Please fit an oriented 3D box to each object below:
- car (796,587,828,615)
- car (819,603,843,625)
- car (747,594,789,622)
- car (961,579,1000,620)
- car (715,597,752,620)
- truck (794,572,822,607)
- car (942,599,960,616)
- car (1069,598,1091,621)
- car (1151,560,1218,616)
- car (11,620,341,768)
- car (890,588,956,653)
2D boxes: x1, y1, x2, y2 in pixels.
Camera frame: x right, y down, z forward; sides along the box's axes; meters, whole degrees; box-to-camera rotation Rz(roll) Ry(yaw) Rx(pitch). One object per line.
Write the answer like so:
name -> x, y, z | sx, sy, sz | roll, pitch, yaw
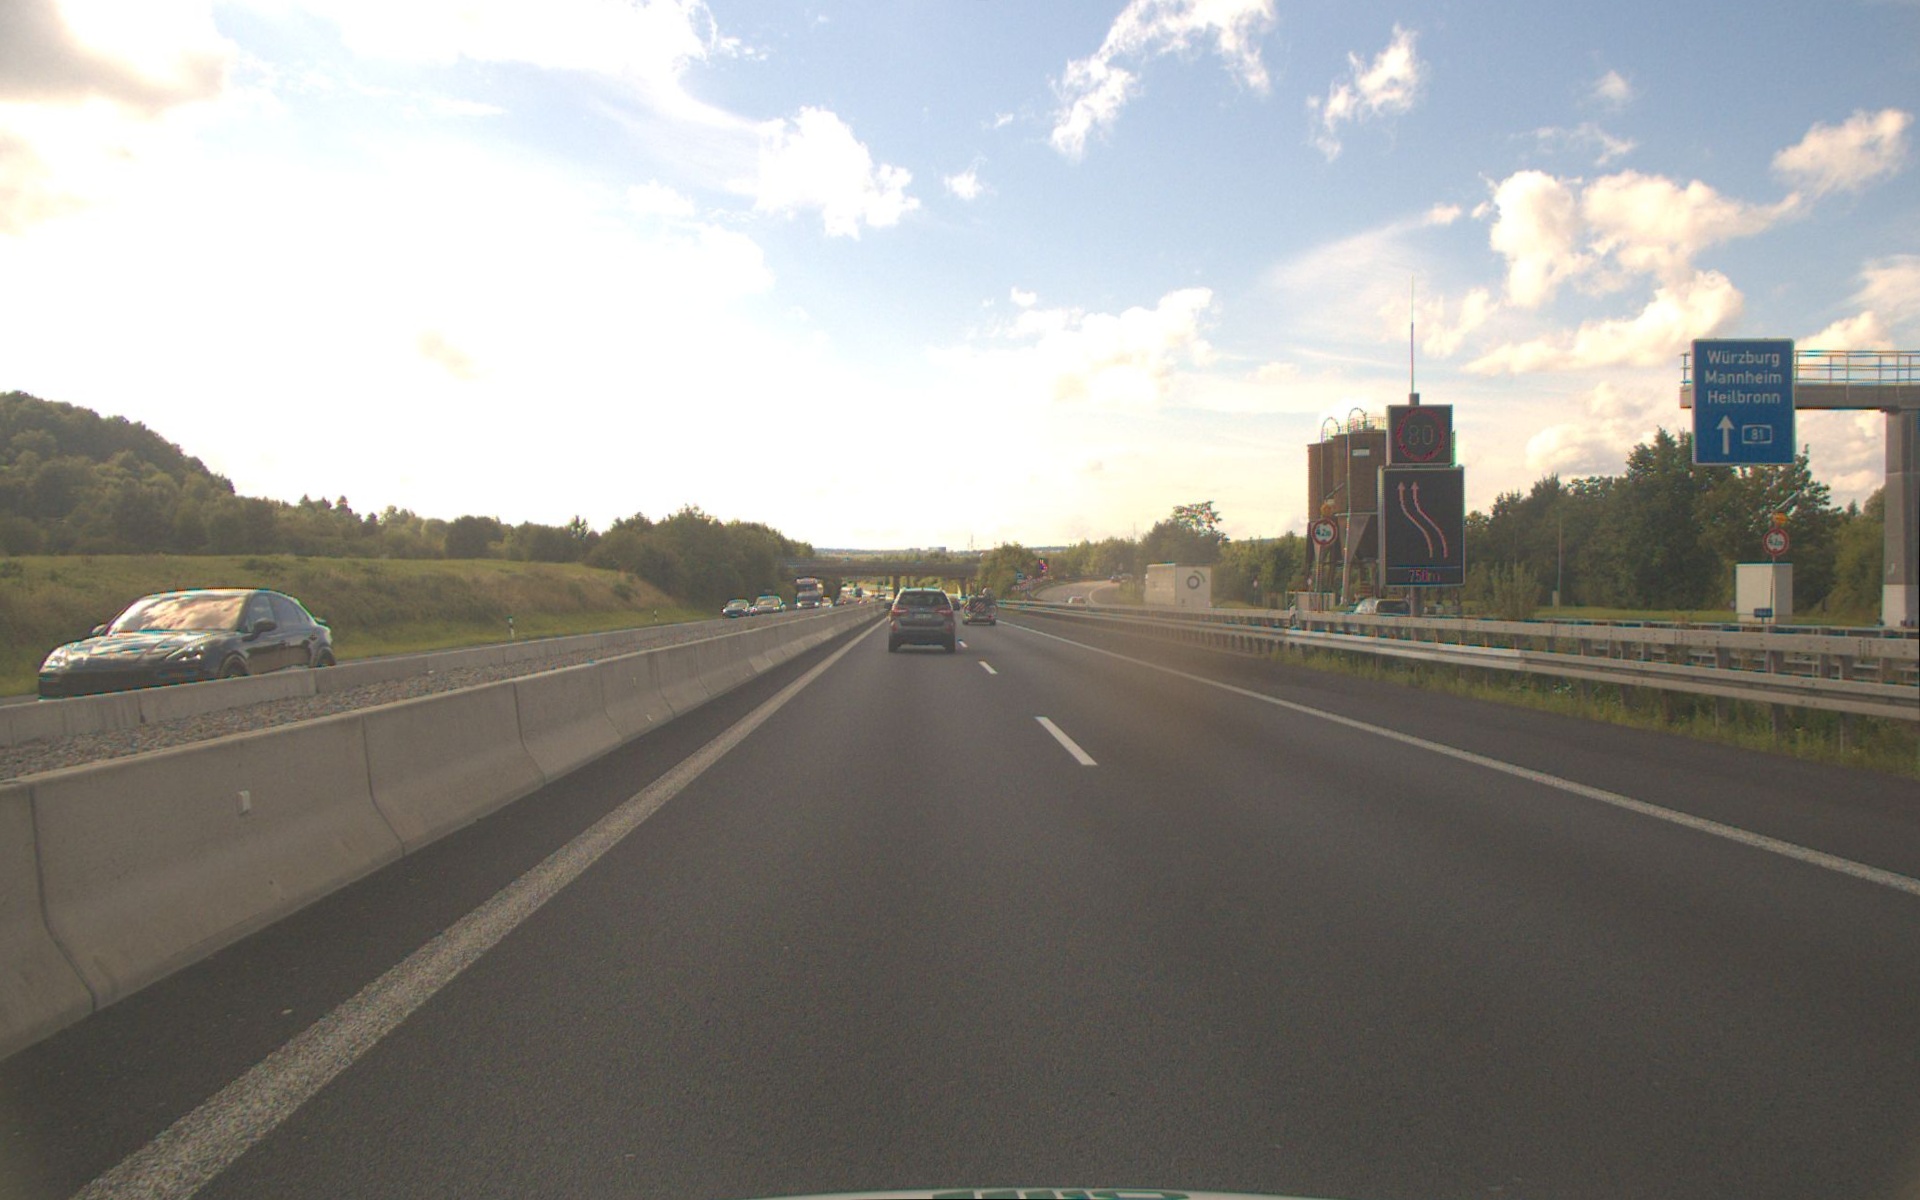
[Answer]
car -> -11.512, 0.069, 129.004 | 1.953, 2.049, 5.840 | -2, 0, -1
car -> -12.204, 1.287, 157.076 | 1.953, 2.049, 4.677 | 0, 0, -1
car -> -11.813, 0.466, 102.141 | 1.953, 1.600, 5.364 | -2, 0, -1
car -> 1.117, -0.030, 91.596 | 1.953, 2.117, 3.999 | -2, 0, -1
car -> -15.916, 0.599, 116.340 | 1.953, 1.504, 4.691 | -2, 0, -1
truck -> -18.012, -1.187, 196.228 | 2.682, 3.993, 6.900 | -2, 0, -1
car -> -1.036, 0.874, 185.904 | 1.935, 1.810, 4.119 | -2, 0, -2
car -> 11.540, 0.903, 159.638 | 1.952, 2.049, 4.001 | -2, 0, 3
car -> 15.872, -0.851, 117.393 | 3.504, 3.741, 7.546 | -2, 0, -1
car -> -9.005, 1.004, 19.490 | 1.751, 1.422, 4.621 | -2, 0, -2
car -> -0.988, 0.549, 45.803 | 1.714, 1.659, 3.608 | -2, 0, 0
